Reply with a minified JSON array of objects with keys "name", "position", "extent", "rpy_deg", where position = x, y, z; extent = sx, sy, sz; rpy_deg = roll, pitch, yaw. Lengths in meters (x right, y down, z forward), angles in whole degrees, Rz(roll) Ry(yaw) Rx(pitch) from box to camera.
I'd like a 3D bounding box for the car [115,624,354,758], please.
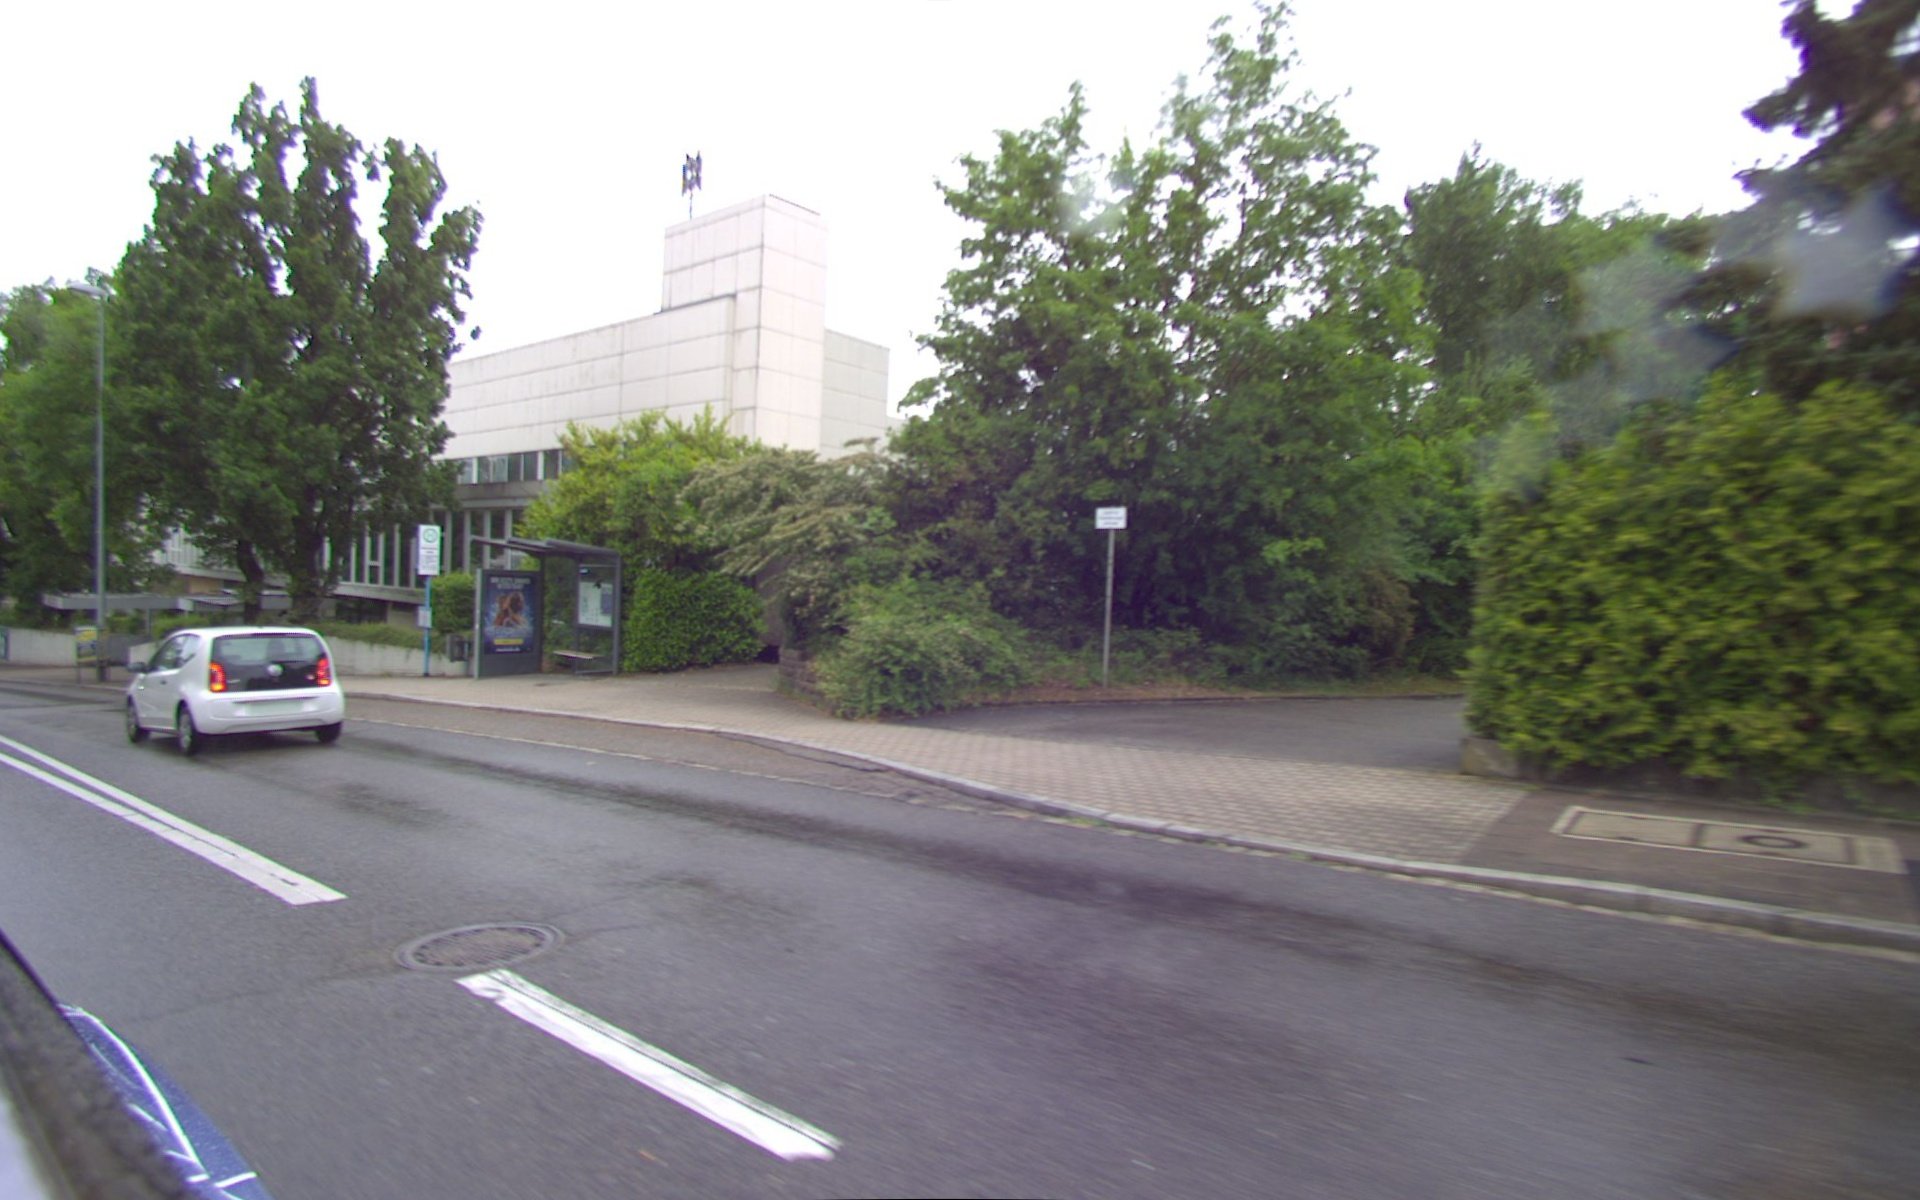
[{"name":"car","position":[-9.322,1.060,12.935],"extent":[3.394,1.465,1.668],"rpy_deg":[-2,-2,39]}]
